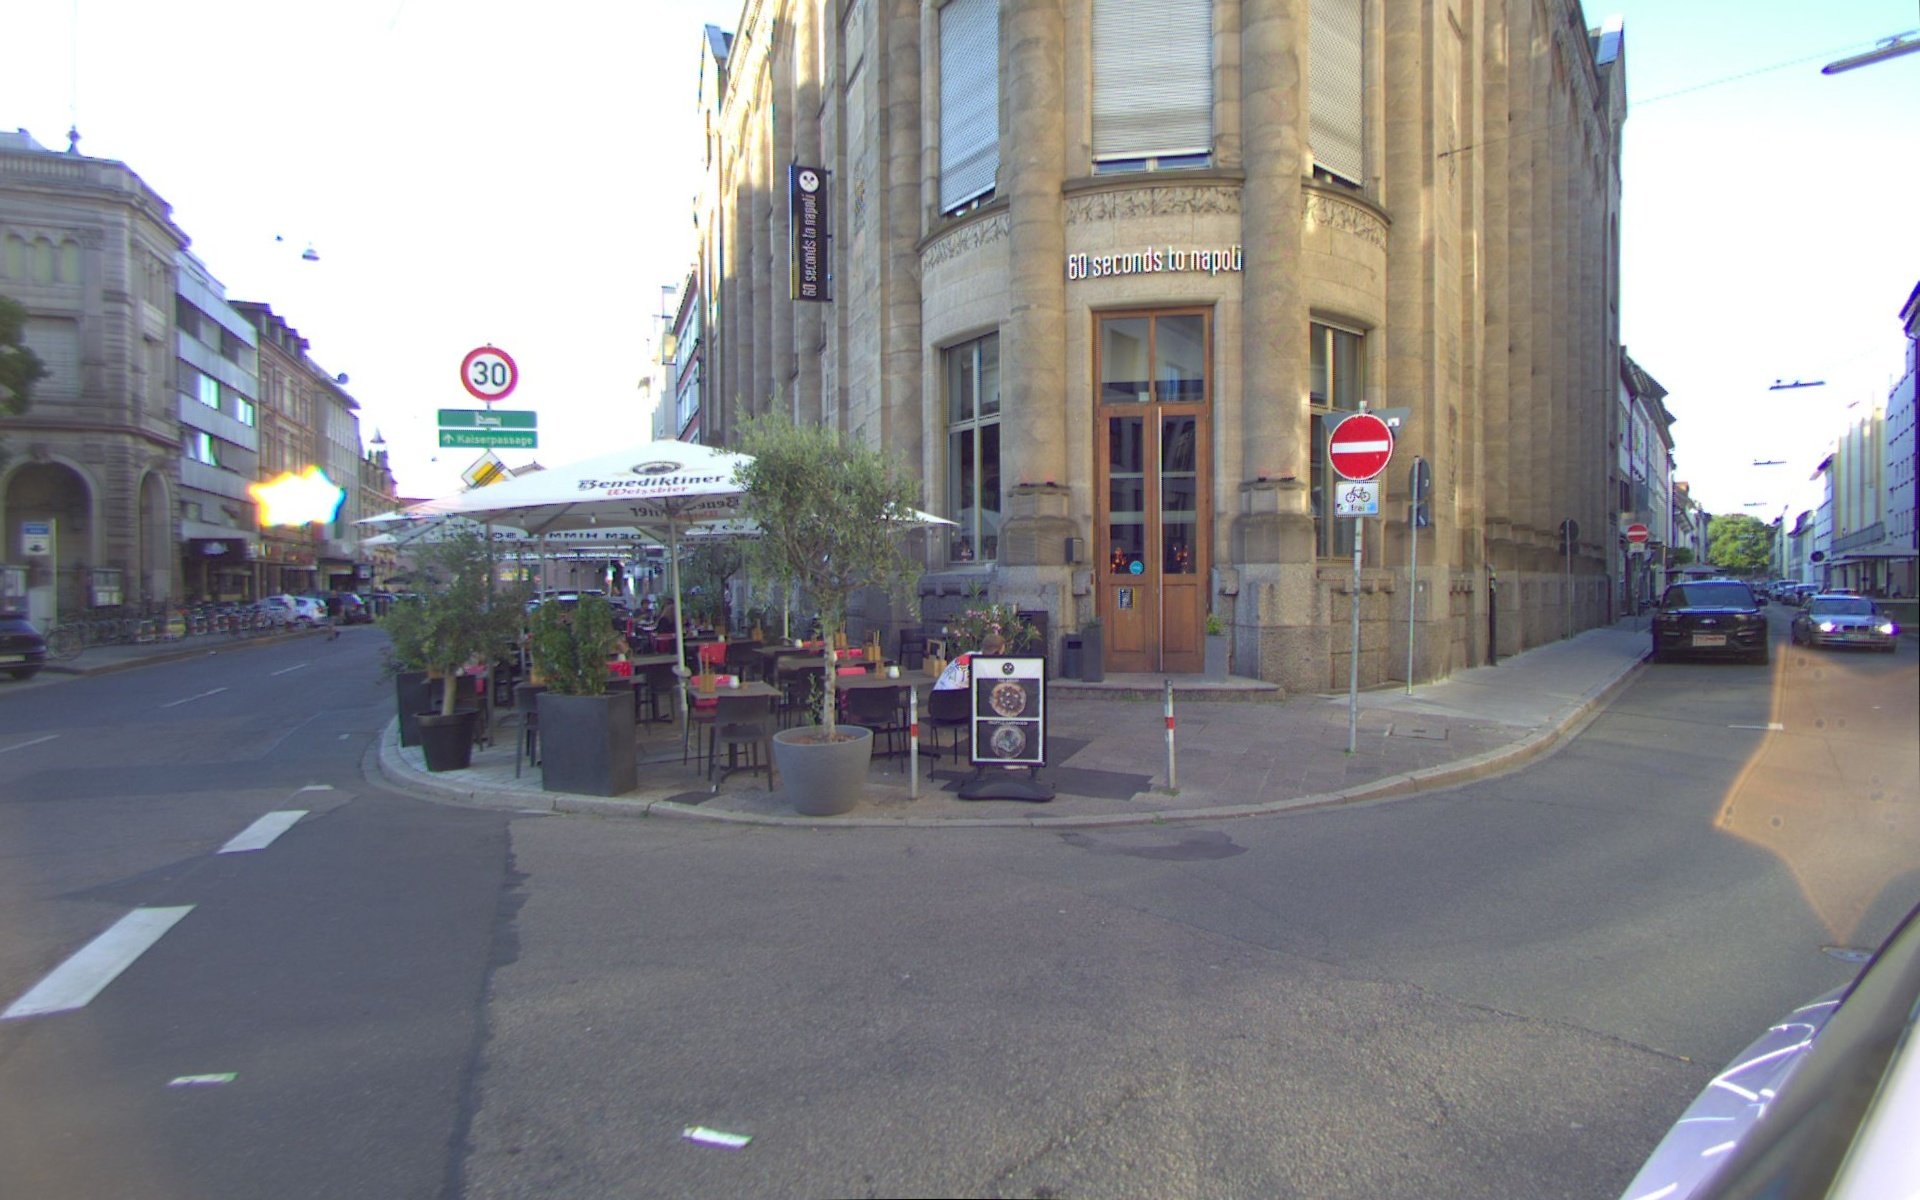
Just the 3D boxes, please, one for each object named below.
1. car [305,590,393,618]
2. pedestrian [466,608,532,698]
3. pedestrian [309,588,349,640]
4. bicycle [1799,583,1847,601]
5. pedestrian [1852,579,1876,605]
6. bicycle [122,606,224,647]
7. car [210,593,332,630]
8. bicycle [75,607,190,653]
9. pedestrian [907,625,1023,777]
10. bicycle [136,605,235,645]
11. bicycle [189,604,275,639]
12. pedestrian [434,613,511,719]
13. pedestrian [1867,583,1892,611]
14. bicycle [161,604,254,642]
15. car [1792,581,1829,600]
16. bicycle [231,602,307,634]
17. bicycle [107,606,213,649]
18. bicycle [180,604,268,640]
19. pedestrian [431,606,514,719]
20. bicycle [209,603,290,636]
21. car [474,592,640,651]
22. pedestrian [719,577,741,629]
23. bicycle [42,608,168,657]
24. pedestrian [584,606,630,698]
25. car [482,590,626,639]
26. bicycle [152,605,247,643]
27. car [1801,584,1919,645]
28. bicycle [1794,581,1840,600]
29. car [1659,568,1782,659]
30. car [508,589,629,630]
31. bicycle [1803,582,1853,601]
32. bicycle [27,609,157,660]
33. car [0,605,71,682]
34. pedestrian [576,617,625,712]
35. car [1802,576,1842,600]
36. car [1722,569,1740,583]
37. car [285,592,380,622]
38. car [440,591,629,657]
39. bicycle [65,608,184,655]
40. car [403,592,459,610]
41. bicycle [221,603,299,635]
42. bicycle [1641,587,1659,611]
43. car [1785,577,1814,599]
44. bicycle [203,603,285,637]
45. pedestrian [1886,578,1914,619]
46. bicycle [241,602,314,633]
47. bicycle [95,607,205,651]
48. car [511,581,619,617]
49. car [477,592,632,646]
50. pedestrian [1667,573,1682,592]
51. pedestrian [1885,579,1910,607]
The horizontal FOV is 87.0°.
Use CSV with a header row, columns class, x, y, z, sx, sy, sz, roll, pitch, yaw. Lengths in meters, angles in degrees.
class,x,y,z,sx,sy,sz,roll,pitch,yaw
car,-34.154,0.197,56.682,3.916,1.430,1.759,-2,1,-20
pedestrian,-6.735,0.758,14.792,0.680,1.261,0.595,0,0,30
pedestrian,-21.920,0.461,35.202,0.953,1.772,1.005,-1,0,-18
bicycle,59.856,-0.547,70.177,2.475,1.193,0.772,0,1,44
pedestrian,37.772,-0.322,42.270,0.629,1.081,0.554,-1,1,30
bicycle,-23.121,0.760,29.785,2.254,1.104,0.718,-2,1,-24
car,-29.075,0.461,42.854,3.916,1.430,1.759,-2,1,-20
bicycle,-22.105,0.787,27.087,2.254,1.104,0.718,-2,1,-24
pedestrian,0.045,0.839,8.789,0.807,1.203,0.606,0,0,-41
bicycle,-23.434,0.751,30.664,2.254,1.104,0.718,-2,1,-24
bicycle,-24.782,0.710,34.484,2.254,1.104,0.718,-2,1,-24
pedestrian,-6.118,0.805,12.705,0.680,1.261,0.595,0,0,30
pedestrian,35.692,-0.127,39.297,0.607,1.076,0.542,-1,1,30
bicycle,-24.141,0.732,32.514,2.254,1.104,0.718,-2,1,-24
car,66.965,-0.757,79.716,1.989,1.489,4.398,0,1,38
bicycle,-26.248,0.669,38.489,2.254,1.104,0.718,-2,1,-24
bicycle,-22.812,0.769,28.910,2.254,1.104,0.718,-2,1,-24
bicycle,-24.448,0.718,33.655,2.254,1.104,0.718,-2,1,-24
pedestrian,-5.697,0.709,11.830,0.680,1.261,0.595,0,0,30
bicycle,-25.578,0.691,36.483,2.254,1.104,0.718,-2,1,-24
car,-11.246,0.553,28.463,1.745,1.430,4.054,-1,1,36
pedestrian,-7.815,0.093,34.329,0.585,1.752,0.630,-1,1,-25
bicycle,-21.277,0.803,25.246,2.254,1.104,0.718,-2,1,-24
pedestrian,-5.035,0.720,14.469,0.588,1.261,0.687,0,0,-17
car,-13.309,0.425,33.356,1.745,1.430,4.129,-1,1,36
bicycle,-23.793,0.739,31.729,2.254,1.104,0.718,-2,1,-24
car,23.444,0.330,26.493,1.989,1.440,4.398,0,1,38
bicycle,61.435,-0.685,72.536,2.475,1.347,0.772,0,1,44
car,16.856,0.223,22.515,1.988,1.805,4.870,0,1,36
car,-15.139,0.318,39.280,1.745,1.430,4.092,-1,1,36
bicycle,57.472,-0.546,67.029,2.475,1.193,0.772,0,1,44
bicycle,-20.938,0.809,24.480,2.254,1.104,0.718,-2,1,-24
car,-20.136,0.868,20.483,3.956,1.430,1.741,-1,1,24
pedestrian,-4.747,0.835,13.389,0.588,1.203,0.574,0,0,-17
car,63.904,-0.879,75.073,1.989,1.697,4.398,0,1,38
car,108.754,-3.353,142.761,1.989,1.919,4.398,0,1,38
car,-32.726,0.333,52.918,3.916,1.430,1.759,-2,1,-20
car,-10.468,0.542,25.157,1.745,1.430,4.017,-1,1,36
bicycle,-21.677,0.792,26.307,2.254,1.104,0.718,-2,1,-24
car,-44.592,0.085,85.349,3.916,1.430,1.759,-2,1,-20
bicycle,-25.979,0.680,37.593,2.254,1.104,0.718,-2,1,-24
bicycle,33.133,-0.052,48.586,0.518,1.103,1.728,5,4,37
car,80.369,-1.137,96.921,1.989,2.067,4.398,0,1,38
bicycle,-25.220,0.698,35.687,2.254,1.104,0.718,-2,1,-24
pedestrian,34.387,-0.069,37.022,0.607,1.491,0.542,-1,0,30
bicycle,-26.583,0.659,39.460,2.254,1.104,0.718,-2,1,-24
bicycle,-22.413,0.776,28.047,2.254,1.104,0.718,-2,1,-24
car,-17.347,-0.061,44.566,1.745,1.430,4.146,-1,1,36
car,-12.093,0.511,30.397,1.745,1.430,4.017,-1,1,36
pedestrian,46.638,-1.148,66.052,0.733,1.258,0.637,-1,1,40
pedestrian,36.632,-0.257,39.560,0.598,1.076,0.542,-1,1,30
